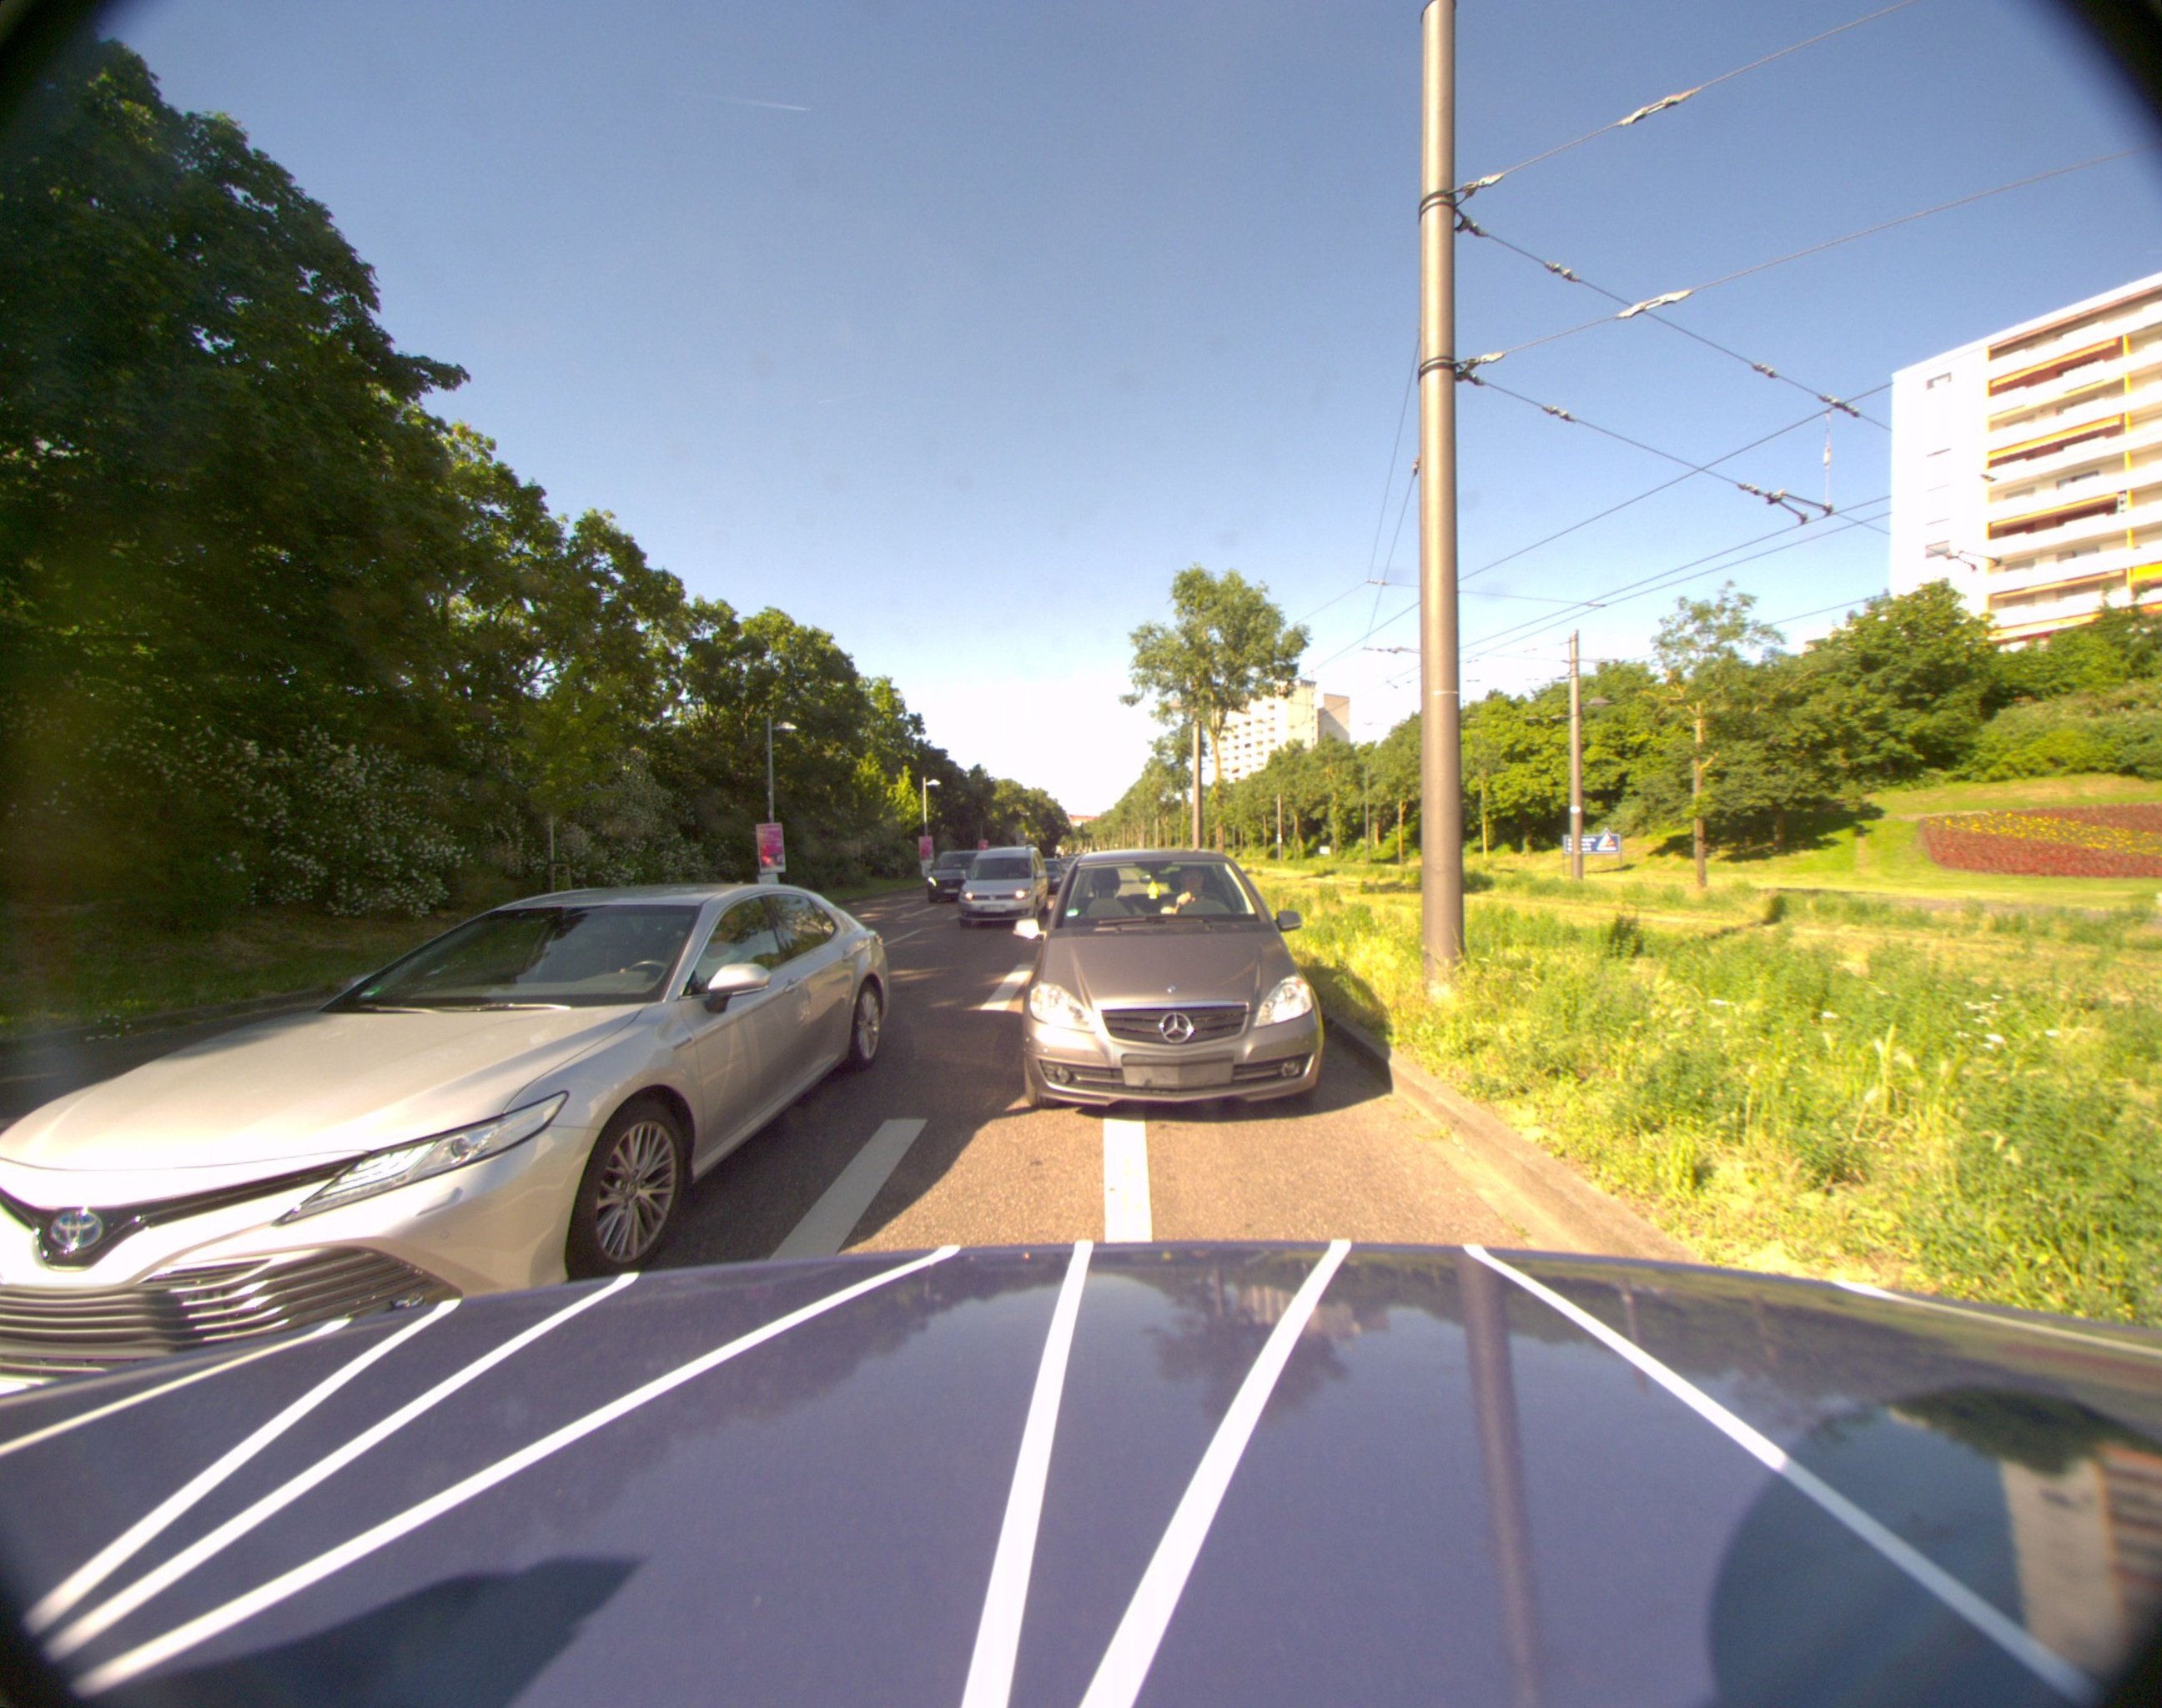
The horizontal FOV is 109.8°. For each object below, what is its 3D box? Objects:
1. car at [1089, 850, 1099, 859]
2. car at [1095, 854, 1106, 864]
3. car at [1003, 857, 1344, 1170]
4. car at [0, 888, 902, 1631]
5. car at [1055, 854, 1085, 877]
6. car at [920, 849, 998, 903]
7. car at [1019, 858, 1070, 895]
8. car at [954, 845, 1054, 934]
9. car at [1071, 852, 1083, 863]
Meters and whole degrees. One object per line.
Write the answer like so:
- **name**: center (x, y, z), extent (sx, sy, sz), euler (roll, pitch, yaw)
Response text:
- **car**: center (2.430, 0.123, 139.593), extent (1.777, 1.597, 4.384), euler (-1, 0, 1)
- **car**: center (3.122, 0.824, 121.983), extent (1.777, 1.597, 4.384), euler (-1, 0, 1)
- **car**: center (0.519, 0.853, 6.201), extent (1.777, 1.597, 4.384), euler (-1, 0, 1)
- **car**: center (-2.641, 1.046, 4.118), extent (2.069, 1.451, 4.749), euler (-1, 0, 2)
- **car**: center (-0.692, 0.705, 49.952), extent (1.776, 1.395, 4.067), euler (-1, 0, 2)
- **car**: center (-4.559, 0.756, 29.161), extent (1.998, 1.882, 5.148), euler (-1, 0, 1)
- **car**: center (-1.463, 0.904, 31.942), extent (1.776, 1.395, 4.067), euler (-1, 0, 2)
- **car**: center (-1.751, 0.759, 18.737), extent (1.822, 1.893, 4.622), euler (-1, 0, 2)
- **car**: center (-0.579, 0.519, 119.868), extent (1.777, 1.597, 4.384), euler (-1, 0, 1)
